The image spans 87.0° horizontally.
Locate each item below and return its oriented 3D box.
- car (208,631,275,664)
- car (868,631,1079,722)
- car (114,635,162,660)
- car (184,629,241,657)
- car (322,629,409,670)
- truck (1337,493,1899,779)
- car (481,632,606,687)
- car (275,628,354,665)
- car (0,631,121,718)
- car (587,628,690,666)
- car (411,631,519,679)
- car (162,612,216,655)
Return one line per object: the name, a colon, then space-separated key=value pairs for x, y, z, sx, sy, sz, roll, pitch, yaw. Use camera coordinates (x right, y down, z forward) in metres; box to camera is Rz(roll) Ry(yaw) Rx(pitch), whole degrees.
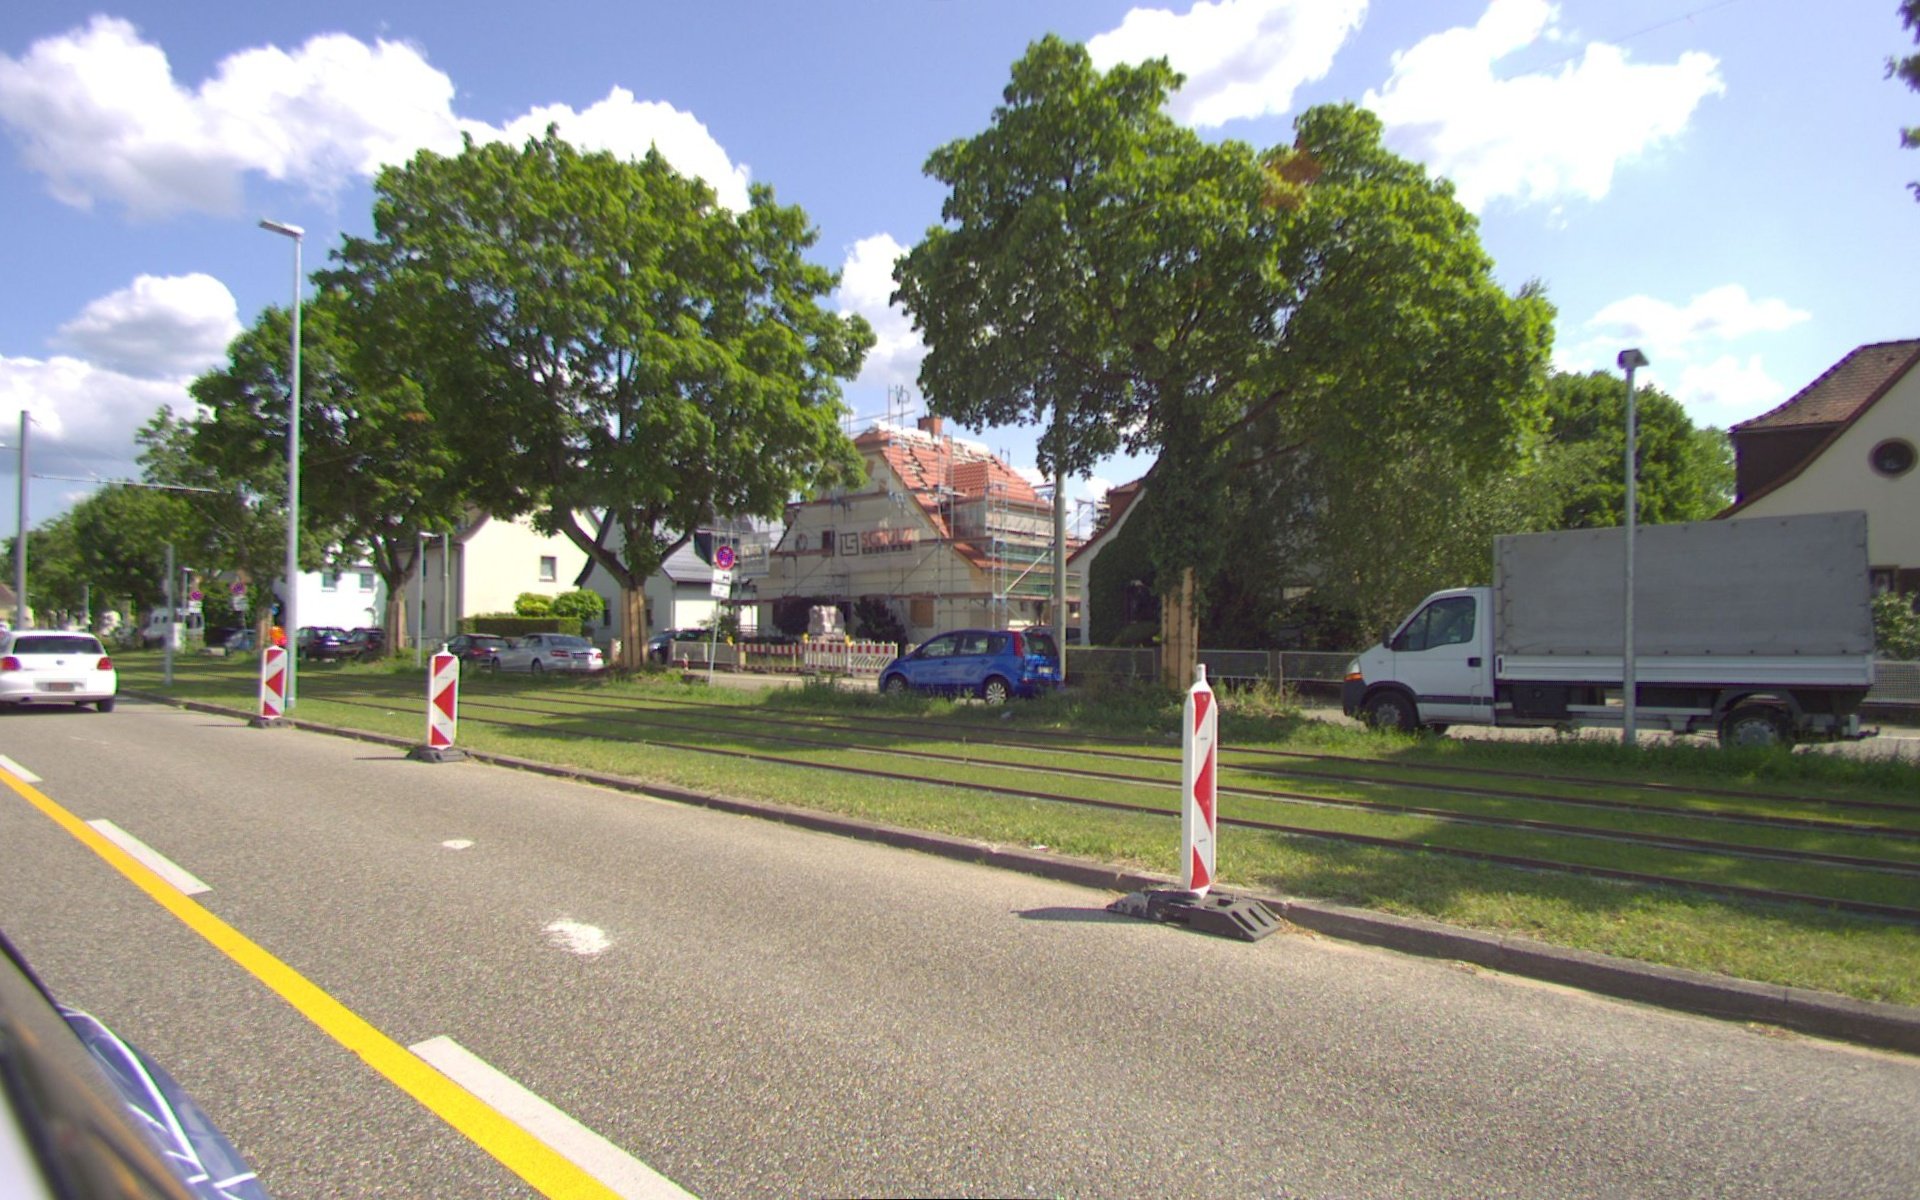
car: x=-37.635 y=2.463 z=52.980 sx=4.603 sy=1.623 sz=1.733 roll=-2 pitch=-3 yaw=40
car: x=0.209 y=1.440 z=20.170 sx=4.047 sy=1.623 sz=1.733 roll=-2 pitch=-3 yaw=40
car: x=-57.013 y=3.261 z=70.151 sx=4.603 sy=1.623 sz=1.733 roll=-2 pitch=-3 yaw=40
car: x=-44.636 y=2.547 z=60.405 sx=4.603 sy=1.623 sz=1.733 roll=-2 pitch=-3 yaw=40
car: x=-25.174 y=2.069 z=42.827 sx=4.603 sy=1.623 sz=1.733 roll=-2 pitch=-3 yaw=40
truck: x=8.283 y=0.462 z=13.354 sx=5.871 sy=3.010 sz=1.982 roll=-2 pitch=-3 yaw=41
car: x=-13.164 y=1.826 z=31.860 sx=4.603 sy=1.623 sz=1.733 roll=-2 pitch=-3 yaw=40
car: x=-29.593 y=2.093 z=46.331 sx=4.603 sy=1.623 sz=1.733 roll=-2 pitch=-3 yaw=40
car: x=-16.958 y=1.289 z=18.601 sx=4.260 sy=1.424 sz=1.697 roll=-2 pitch=-3 yaw=41
car: x=-14.073 y=2.042 z=44.507 sx=1.756 sy=1.623 sz=3.995 roll=-2 pitch=-3 yaw=41
car: x=-17.605 y=1.911 z=35.931 sx=4.603 sy=1.623 sz=1.733 roll=-2 pitch=-3 yaw=40
car: x=-48.861 y=2.100 z=64.079 sx=4.603 sy=2.636 sz=1.733 roll=-2 pitch=-3 yaw=40
